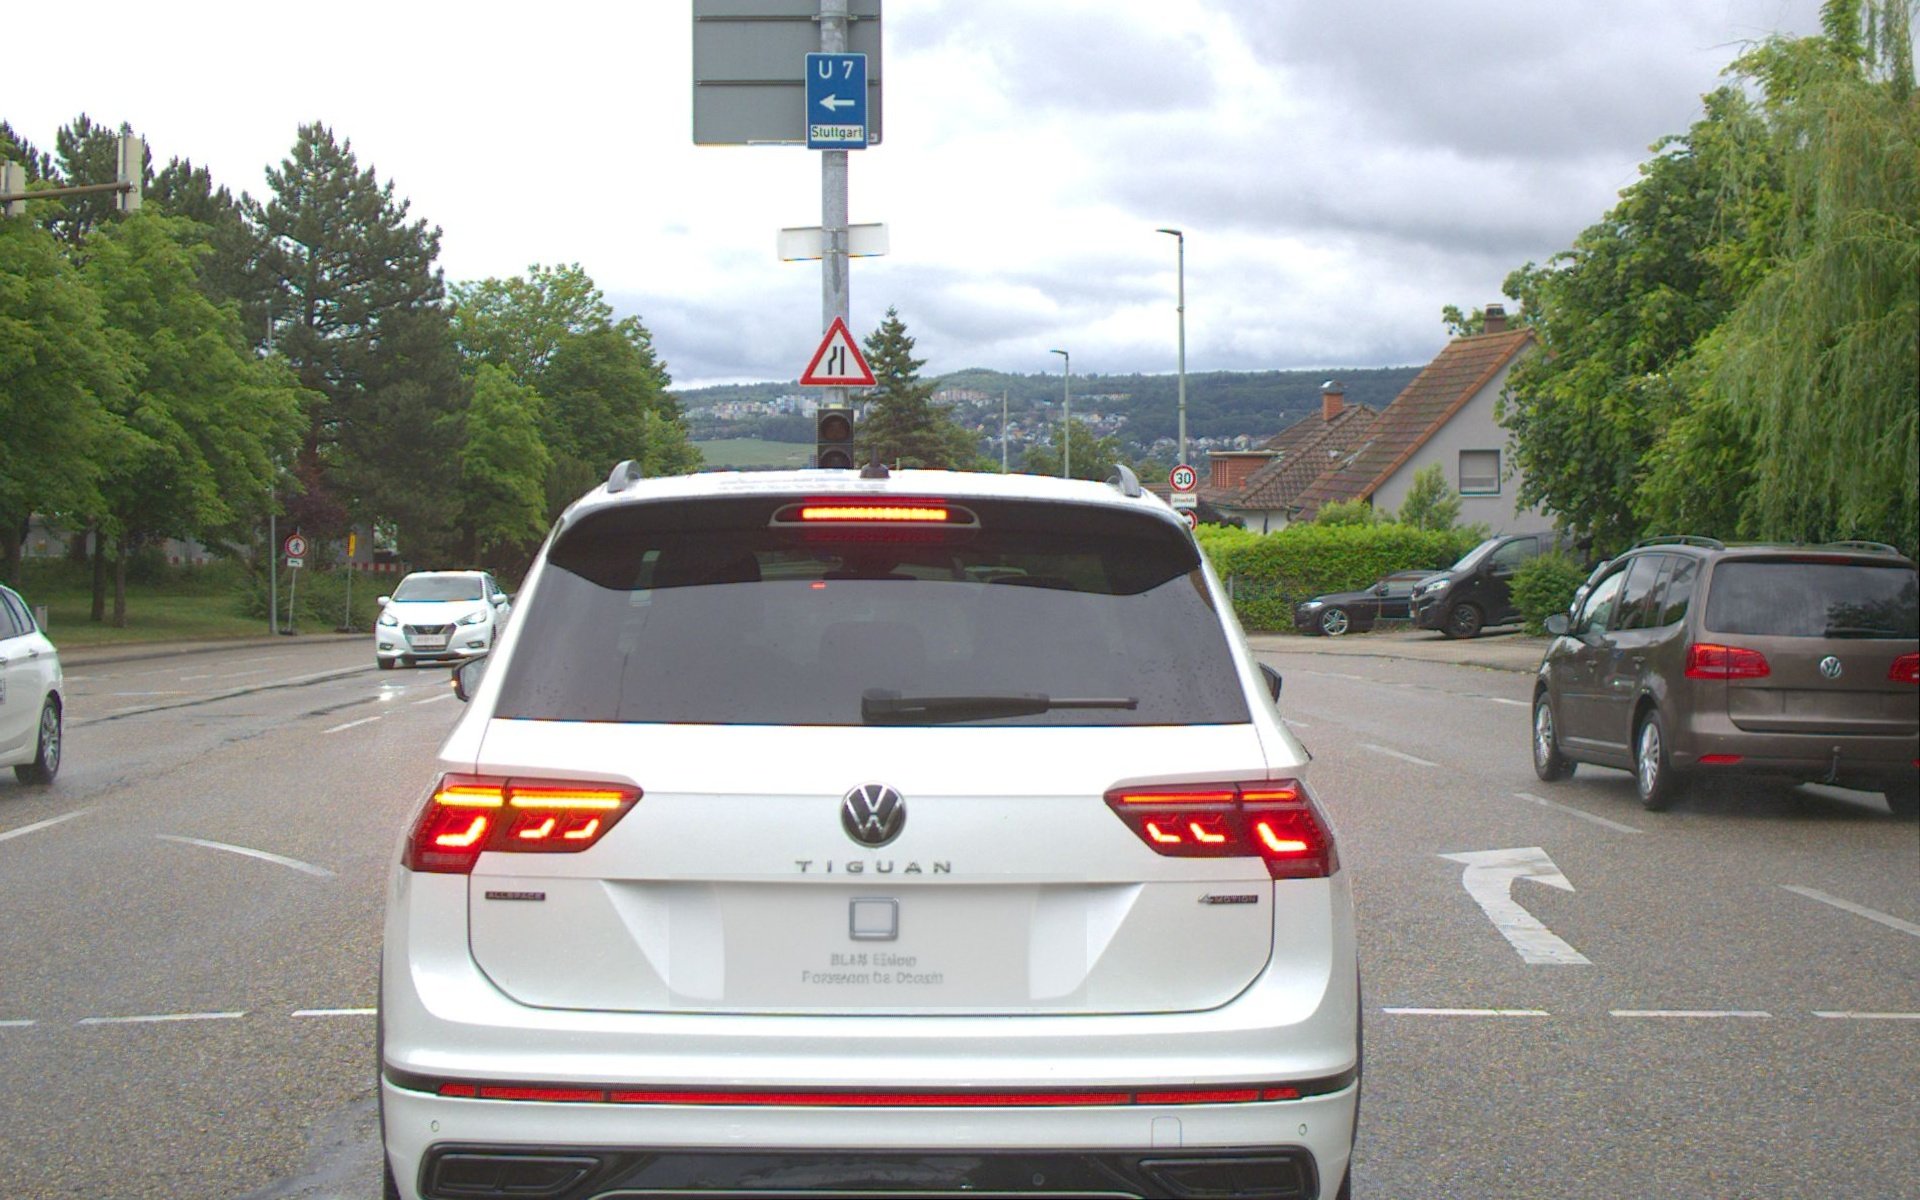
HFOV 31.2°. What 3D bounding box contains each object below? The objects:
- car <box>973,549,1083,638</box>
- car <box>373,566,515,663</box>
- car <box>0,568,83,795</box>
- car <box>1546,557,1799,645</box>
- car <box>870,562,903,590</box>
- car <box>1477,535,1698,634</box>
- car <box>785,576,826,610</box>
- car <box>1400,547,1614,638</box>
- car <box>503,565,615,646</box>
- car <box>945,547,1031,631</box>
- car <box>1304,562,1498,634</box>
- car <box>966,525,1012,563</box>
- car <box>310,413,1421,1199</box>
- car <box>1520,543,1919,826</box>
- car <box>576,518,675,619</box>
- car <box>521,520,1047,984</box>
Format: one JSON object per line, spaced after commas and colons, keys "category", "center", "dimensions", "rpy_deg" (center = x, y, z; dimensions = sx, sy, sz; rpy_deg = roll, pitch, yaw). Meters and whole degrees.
{"category": "car", "center": [1.136, -0.134, 59.140], "dimensions": [1.680, 1.455, 3.802], "rpy_deg": [1, 1, -2]}
{"category": "car", "center": [-7.845, 0.192, 52.512], "dimensions": [1.746, 1.392, 3.802], "rpy_deg": [0, 1, -2]}
{"category": "car", "center": [-7.176, 0.552, 22.236], "dimensions": [1.967, 1.449, 4.309], "rpy_deg": [-1, 1, -1]}
{"category": "car", "center": [11.753, 0.017, 56.831], "dimensions": [3.713, 1.390, 1.729], "rpy_deg": [-1, 0, -7]}
{"category": "car", "center": [-4.274, -1.385, 200.461], "dimensions": [1.850, 1.569, 4.000], "rpy_deg": [-1, 1, 0]}
{"category": "car", "center": [11.328, -0.270, 62.211], "dimensions": [3.627, 1.741, 1.708], "rpy_deg": [0, -1, -4]}
{"category": "car", "center": [-8.170, -0.362, 182.217], "dimensions": [1.993, 1.722, 4.000], "rpy_deg": [2, 0, -1]}
{"category": "car", "center": [10.257, -0.143, 64.628], "dimensions": [3.627, 1.620, 1.792], "rpy_deg": [1, 1, -4]}
{"category": "car", "center": [-7.900, 0.086, 68.073], "dimensions": [1.775, 1.497, 4.472], "rpy_deg": [-1, 1, -2]}
{"category": "car", "center": [0.574, -0.270, 74.167], "dimensions": [1.712, 1.752, 3.802], "rpy_deg": [0, 1, -2]}
{"category": "car", "center": [8.888, -0.031, 69.411], "dimensions": [3.687, 1.365, 1.519], "rpy_deg": [1, -1, -2]}
{"category": "car", "center": [1.213, -2.392, 145.960], "dimensions": [1.850, 1.569, 4.000], "rpy_deg": [-1, 1, 0]}
{"category": "car", "center": [-0.212, 0.534, 7.730], "dimensions": [1.763, 1.690, 4.273], "rpy_deg": [2, 1, -1]}
{"category": "car", "center": [4.813, 0.448, 21.501], "dimensions": [1.735, 1.569, 4.069], "rpy_deg": [1, 1, -3]}
{"category": "car", "center": [-8.630, -0.837, 89.121], "dimensions": [2.297, 2.519, 5.774], "rpy_deg": [0, 1, -3]}
{"category": "car", "center": [-0.616, 0.493, 13.845], "dimensions": [1.798, 1.584, 3.926], "rpy_deg": [1, 1, 0]}
